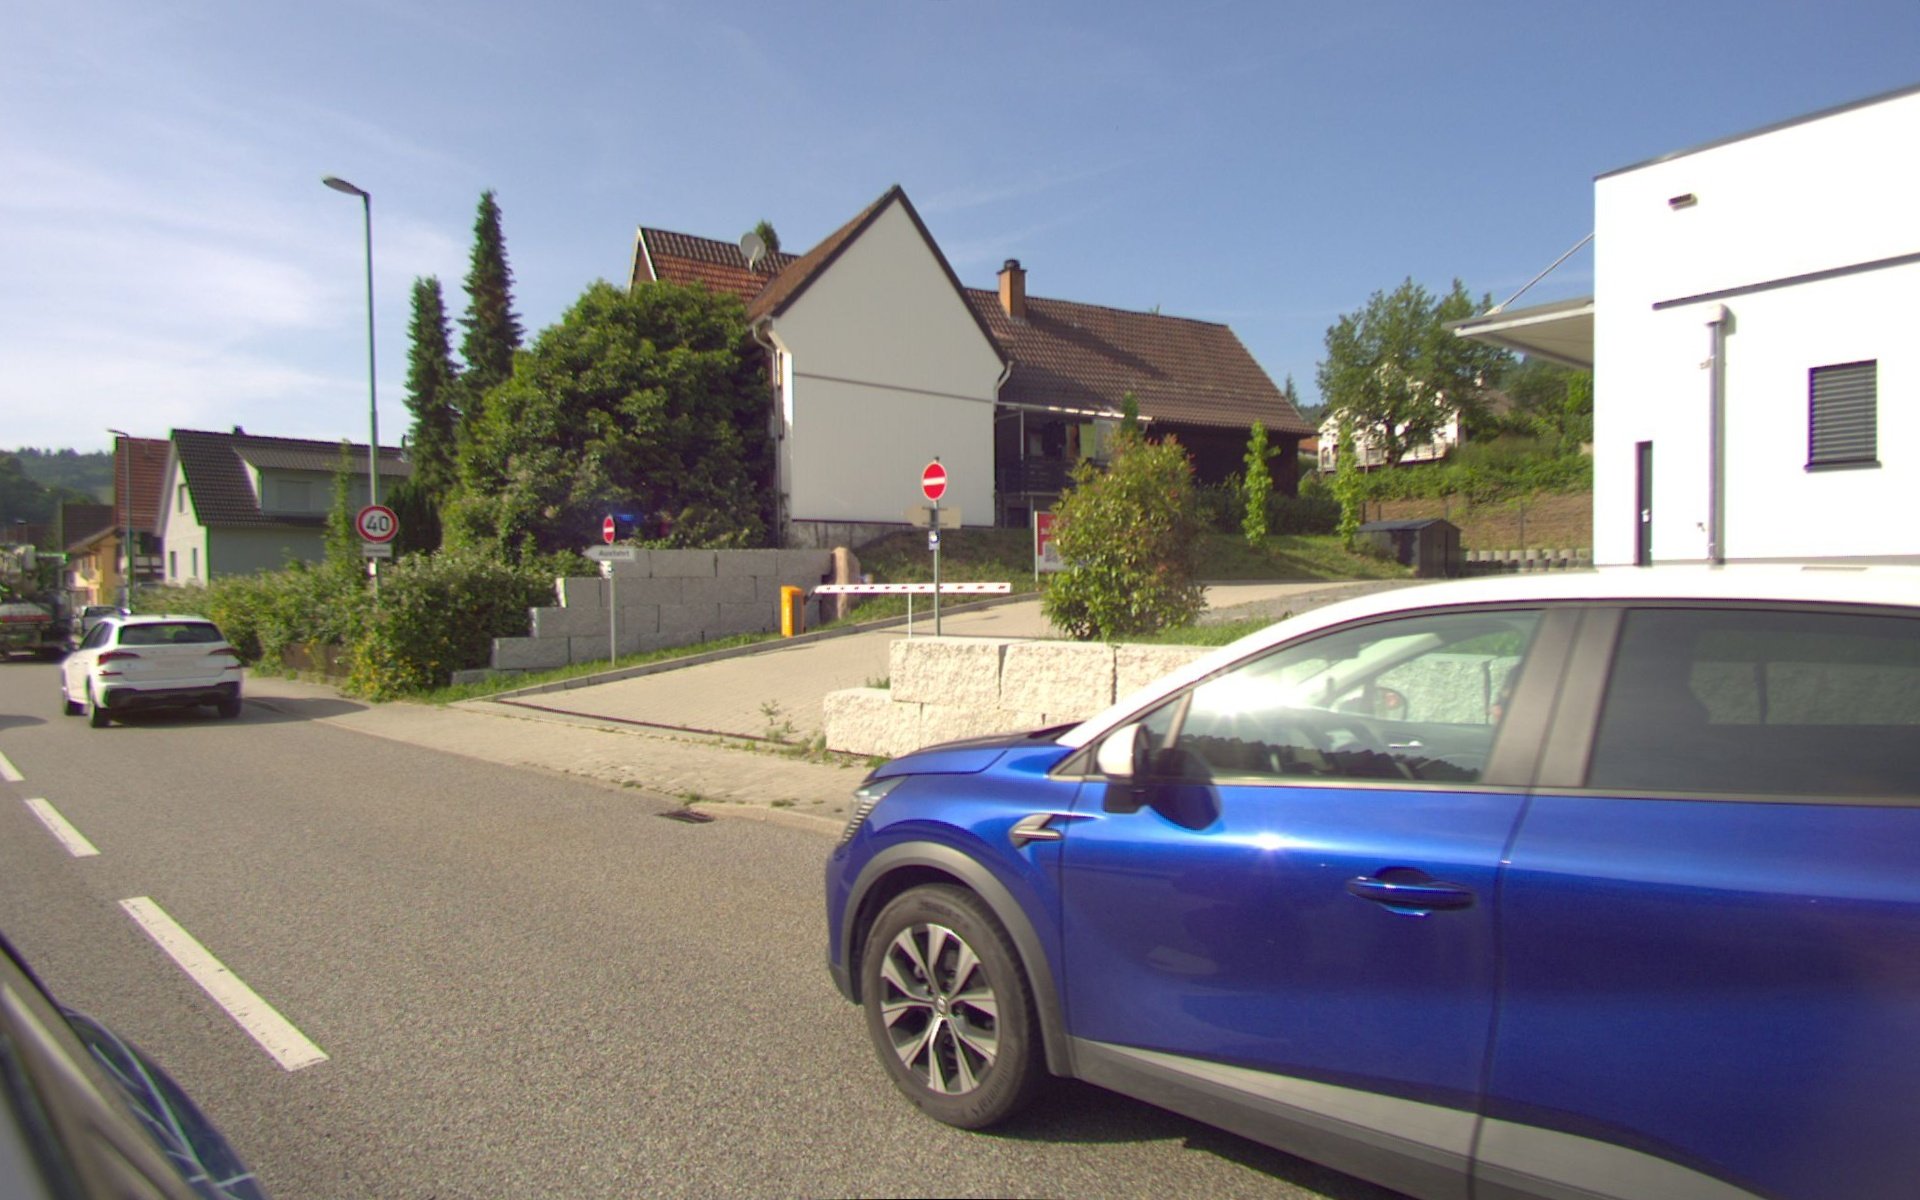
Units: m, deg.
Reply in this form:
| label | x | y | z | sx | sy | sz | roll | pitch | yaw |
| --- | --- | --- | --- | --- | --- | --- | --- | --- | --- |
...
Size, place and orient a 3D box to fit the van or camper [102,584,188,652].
| label | x | y | z | sx | sy | sz | roll | pitch | yaw |
| --- | --- | --- | --- | --- | --- | --- | --- | --- | --- |
| van or camper | -33.747 | 0.713 | 41.849 | 2.123 | 2.574 | 5.905 | -2 | 1 | -45 |

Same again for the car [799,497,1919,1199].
| label | x | y | z | sx | sy | sz | roll | pitch | yaw |
| --- | --- | --- | --- | --- | --- | --- | --- | --- | --- |
| car | 1.577 | 0.637 | 2.444 | 3.997 | 1.538 | 1.726 | -2 | -2 | 41 |

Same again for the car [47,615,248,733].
| label | x | y | z | sx | sy | sz | roll | pitch | yaw |
| --- | --- | --- | --- | --- | --- | --- | --- | --- | --- |
| car | -12.296 | 1.007 | 15.222 | 4.189 | 1.515 | 1.730 | -1 | -1 | 42 |

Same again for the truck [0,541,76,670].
| label | x | y | z | sx | sy | sz | roll | pitch | yaw |
| --- | --- | --- | --- | --- | --- | --- | --- | --- | --- |
| truck | -33.291 | 0.222 | 35.434 | 11.309 | 3.961 | 2.549 | -1 | 0 | 44 |

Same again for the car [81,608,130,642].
| label | x | y | z | sx | sy | sz | roll | pitch | yaw |
| --- | --- | --- | --- | --- | --- | --- | --- | --- | --- |
| car | -46.957 | 1.348 | 55.587 | 1.878 | 1.677 | 4.272 | -3 | 2 | -42 |
